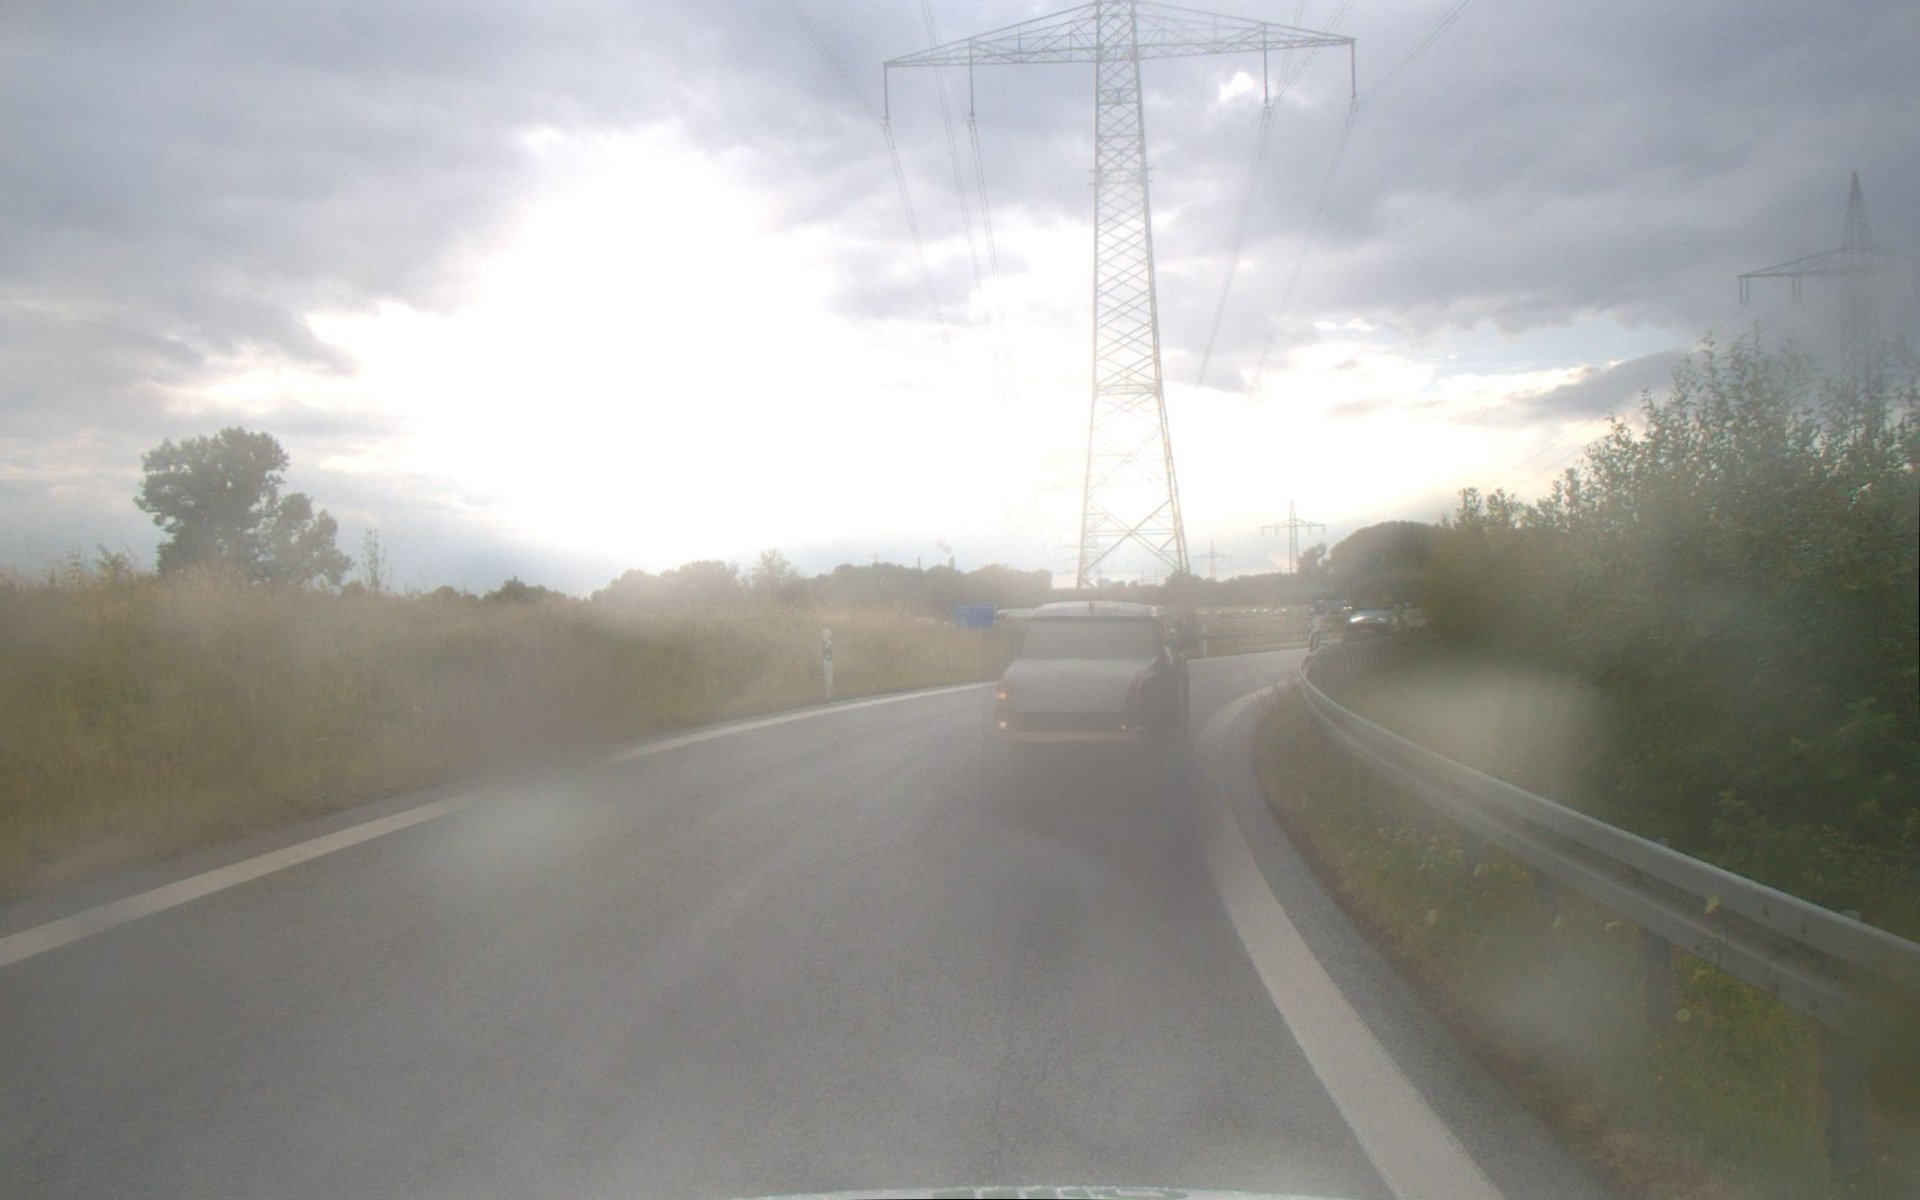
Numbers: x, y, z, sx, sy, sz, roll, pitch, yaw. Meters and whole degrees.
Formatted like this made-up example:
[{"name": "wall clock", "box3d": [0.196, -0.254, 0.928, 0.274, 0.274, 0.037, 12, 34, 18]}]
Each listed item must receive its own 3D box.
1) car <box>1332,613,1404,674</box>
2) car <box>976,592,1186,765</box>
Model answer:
[{"name": "car", "box3d": [14.969, 1.548, 60.485, 2.076, 2.053, 5.536, -2, -1, 18]}, {"name": "car", "box3d": [1.397, 0.727, 17.536, 1.951, 1.594, 4.152, 1, 0, 8]}]
